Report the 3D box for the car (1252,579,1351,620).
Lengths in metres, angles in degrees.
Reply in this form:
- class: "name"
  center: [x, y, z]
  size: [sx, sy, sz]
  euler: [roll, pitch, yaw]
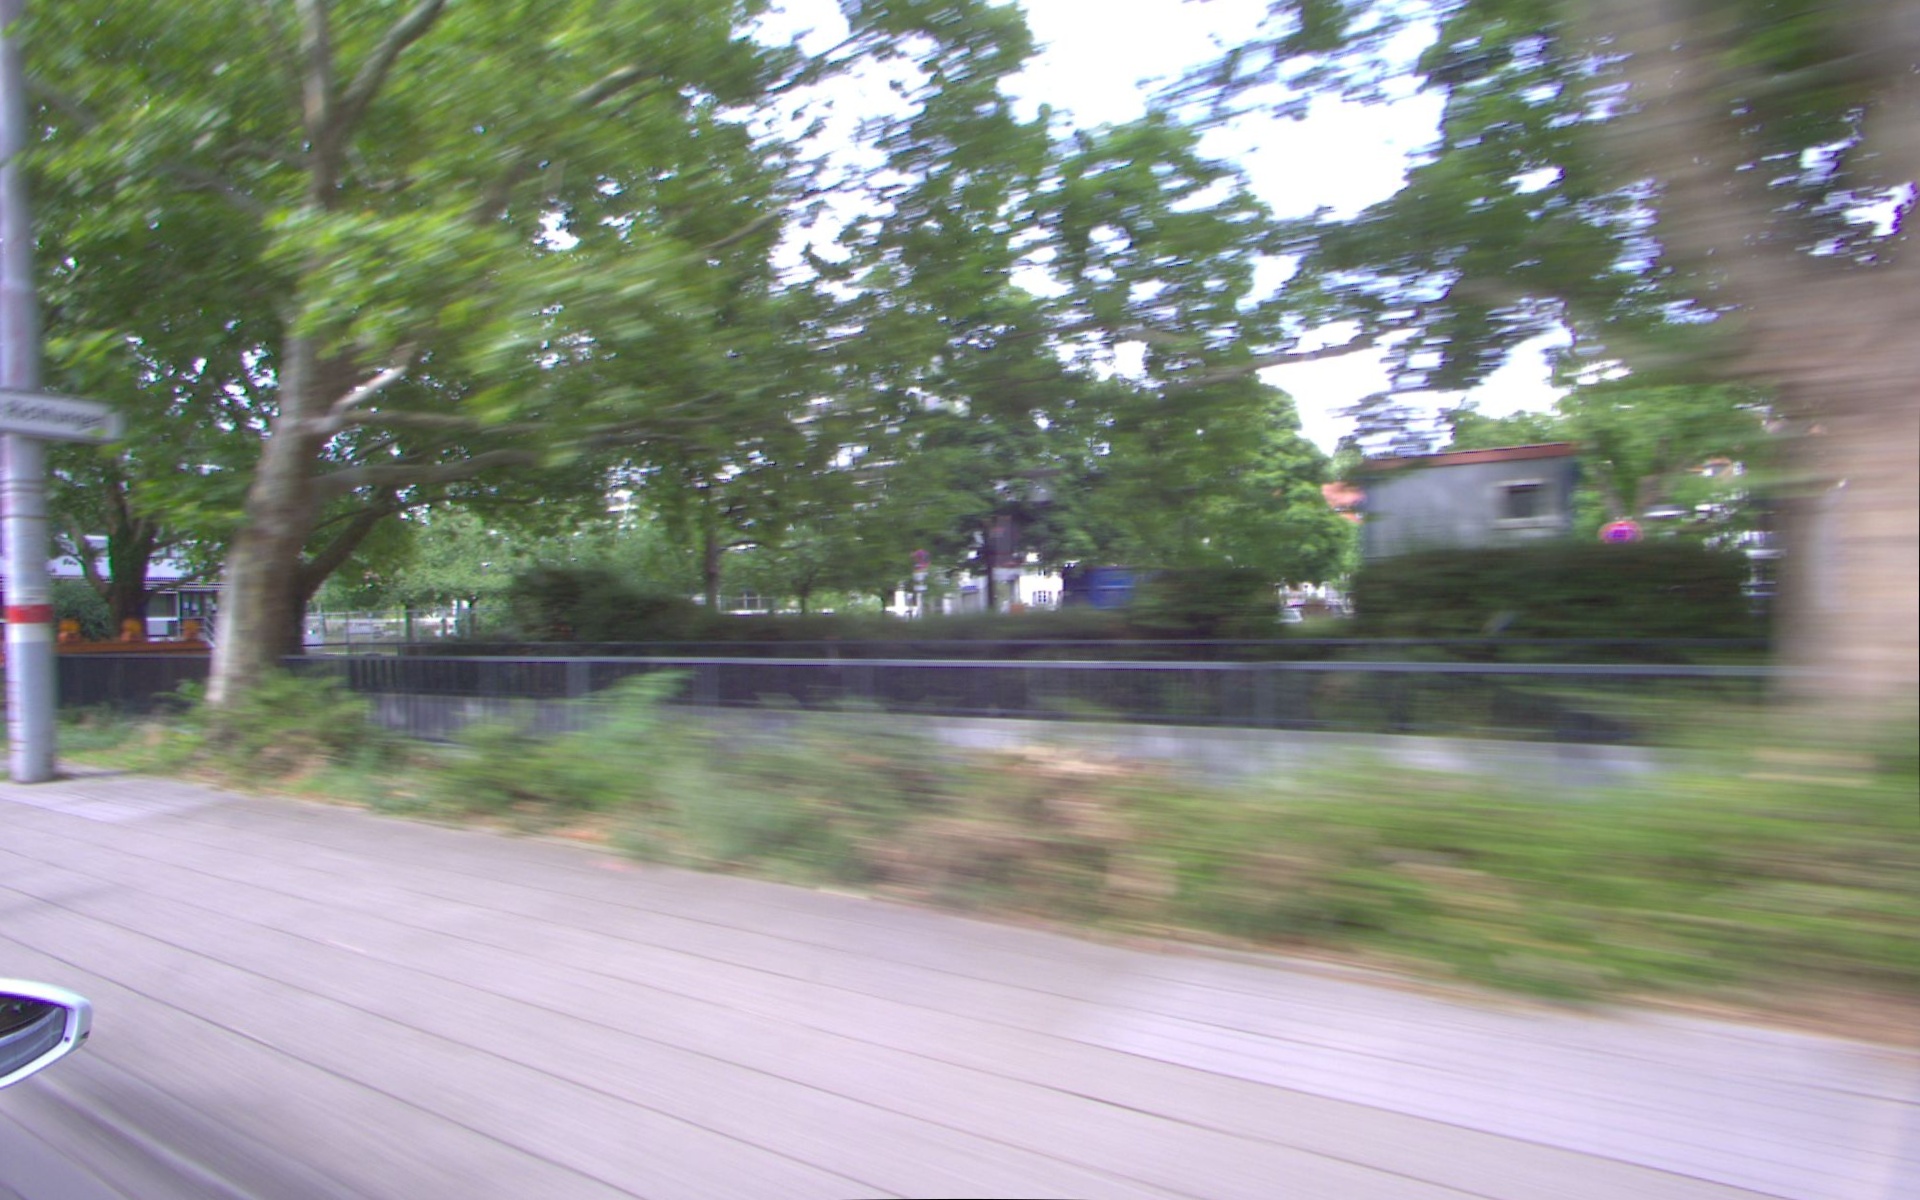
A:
- class: "car"
  center: [18.118, 0.017, 53.153]
  size: [4.699, 2.039, 1.993]
  euler: [-1, -2, 28]
